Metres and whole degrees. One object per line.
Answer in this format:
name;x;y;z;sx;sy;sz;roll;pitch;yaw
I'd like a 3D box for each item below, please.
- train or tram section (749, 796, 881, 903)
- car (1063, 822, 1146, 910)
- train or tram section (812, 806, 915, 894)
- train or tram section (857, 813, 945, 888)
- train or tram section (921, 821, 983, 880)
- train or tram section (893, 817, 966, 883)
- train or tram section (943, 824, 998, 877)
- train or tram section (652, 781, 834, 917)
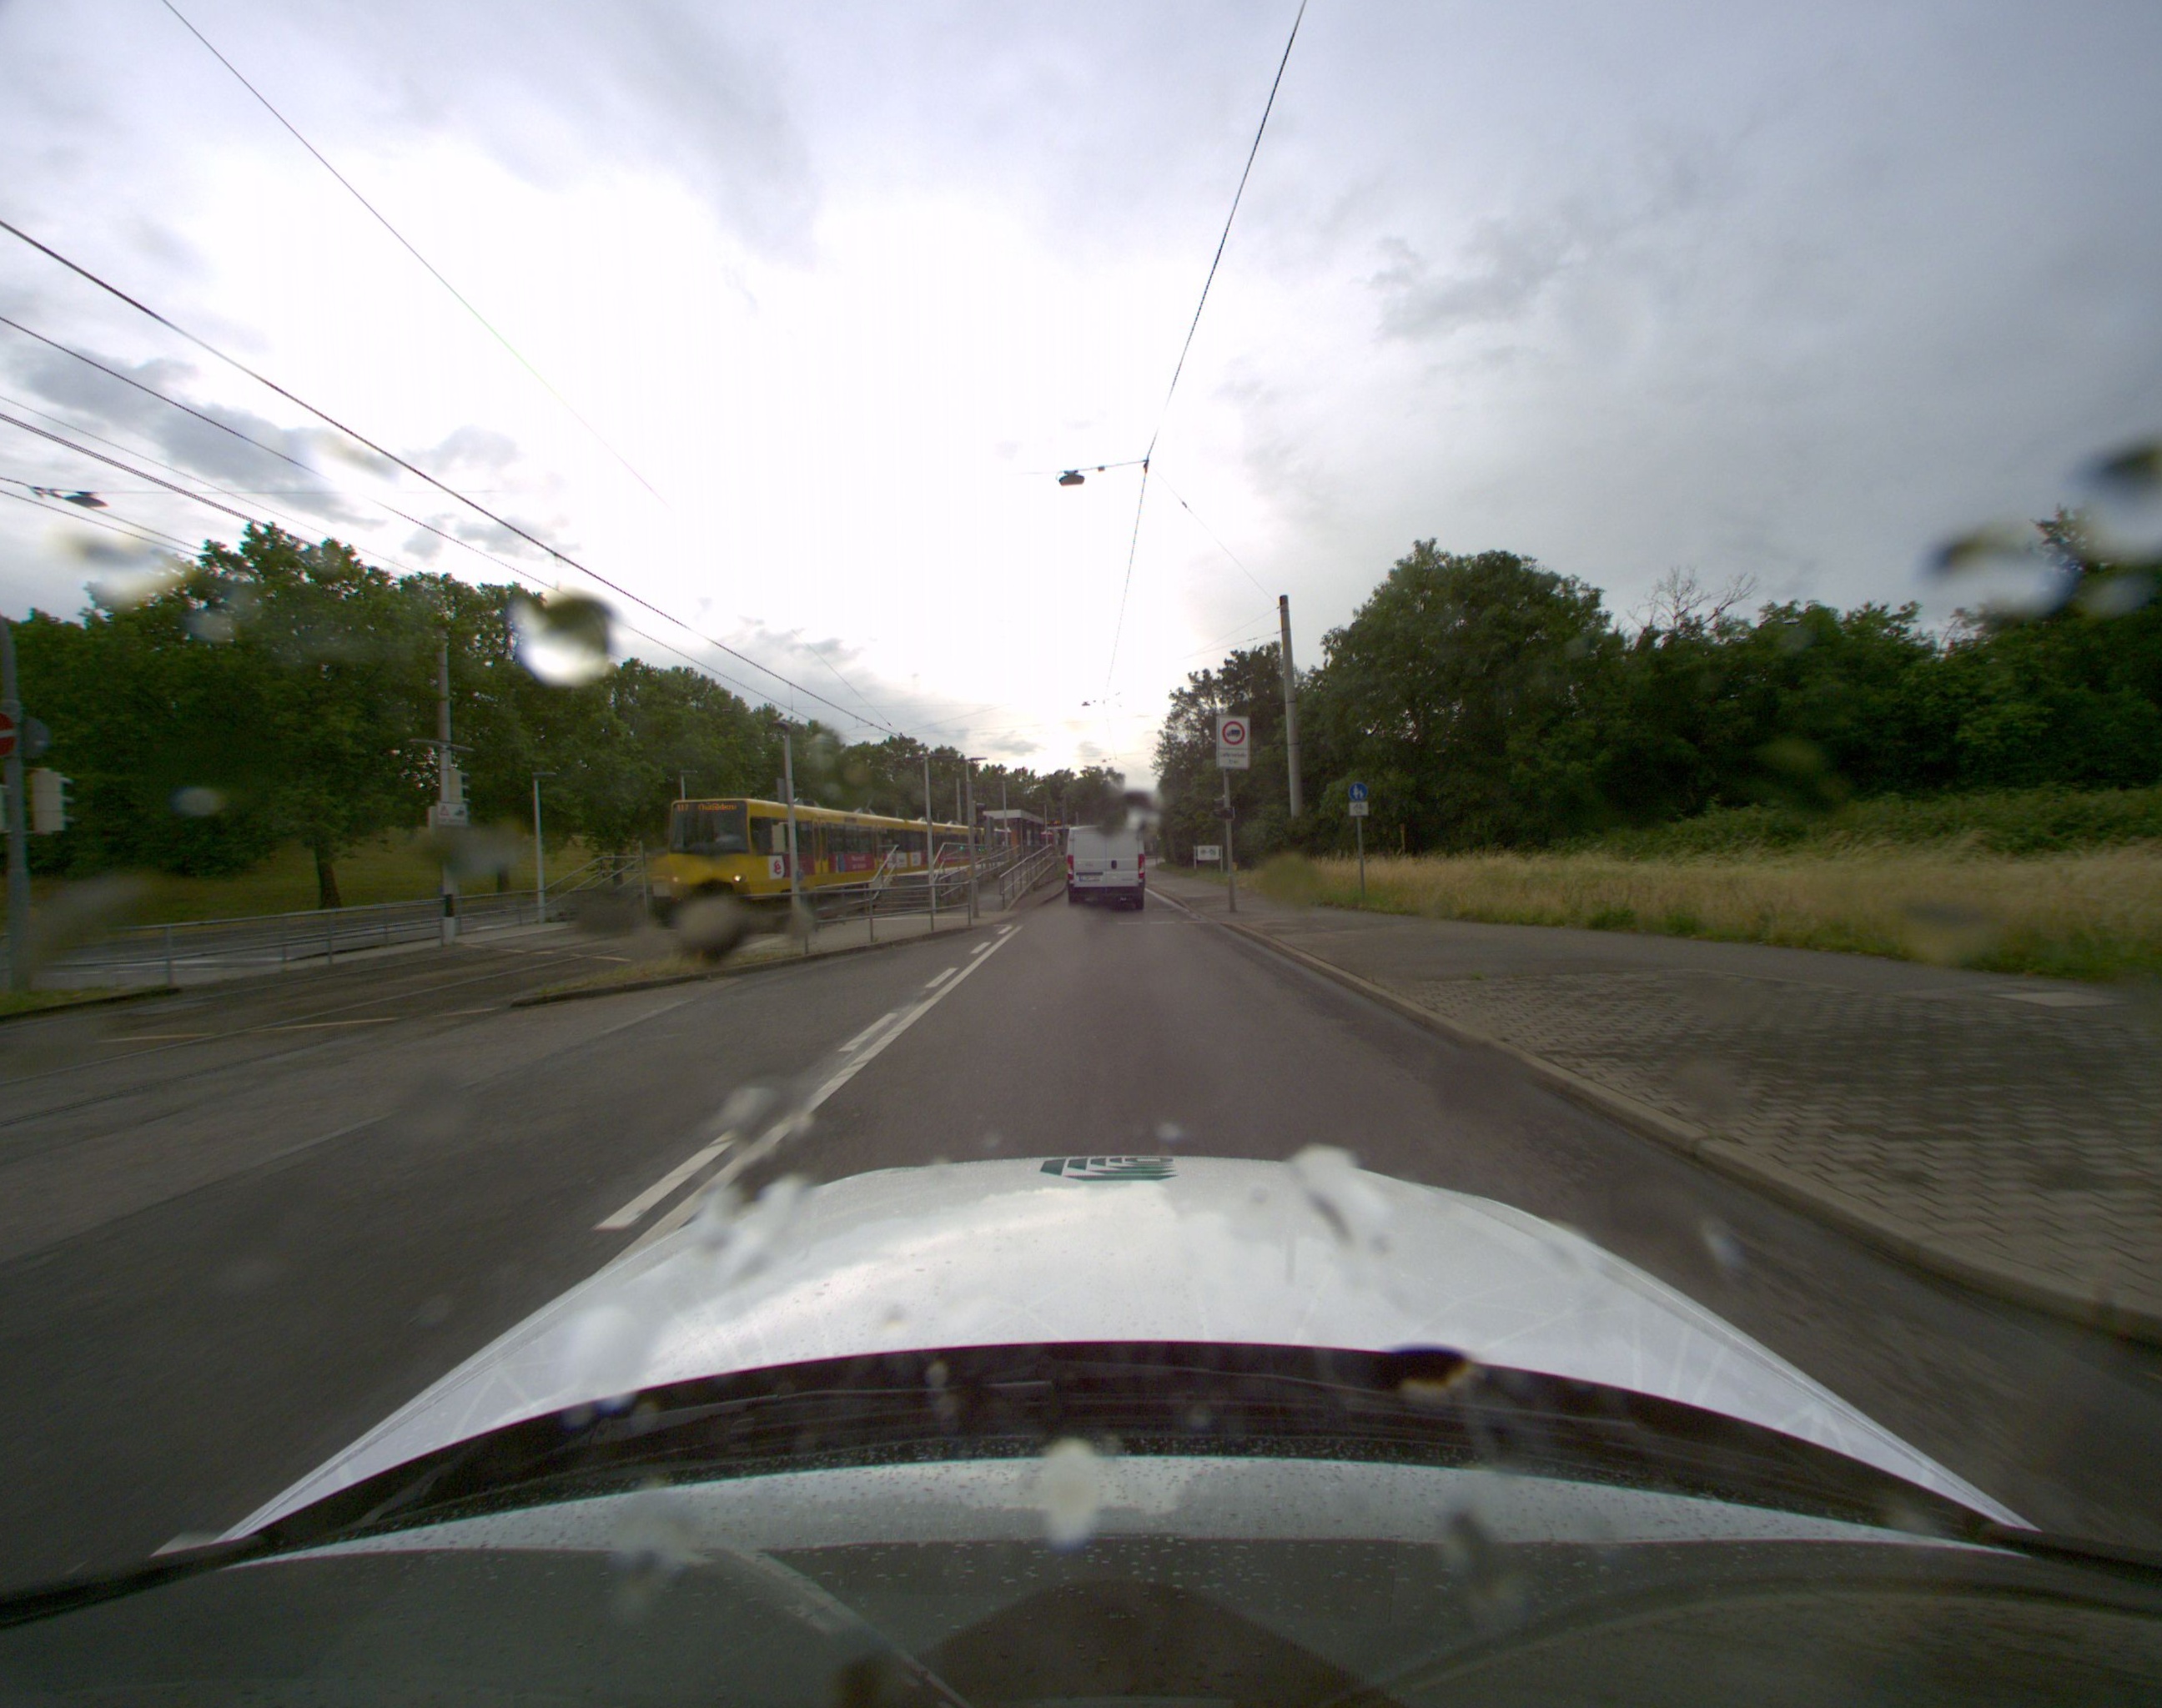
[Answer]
train or tram section;-10.640;-0.169;33.456;2.917;3.933;7.008;0;0;2
car;0.605;0.281;23.238;2.084;2.196;5.060;-1;1;0
train or tram section;-10.425;-0.188;39.785;2.917;3.933;7.008;0;0;2
train or tram section;-10.026;-0.208;46.184;2.915;3.933;7.013;0;0;4
train or tram section;-9.176;-0.249;58.780;2.915;3.933;7.013;0;0;4
train or tram section;-9.603;-0.229;52.465;2.915;3.933;7.013;0;0;4
train or tram section;-8.726;-0.270;65.098;2.915;3.933;7.013;0;0;4
train or tram section;-10.846;-0.149;27.064;2.917;3.933;7.008;0;0;2
